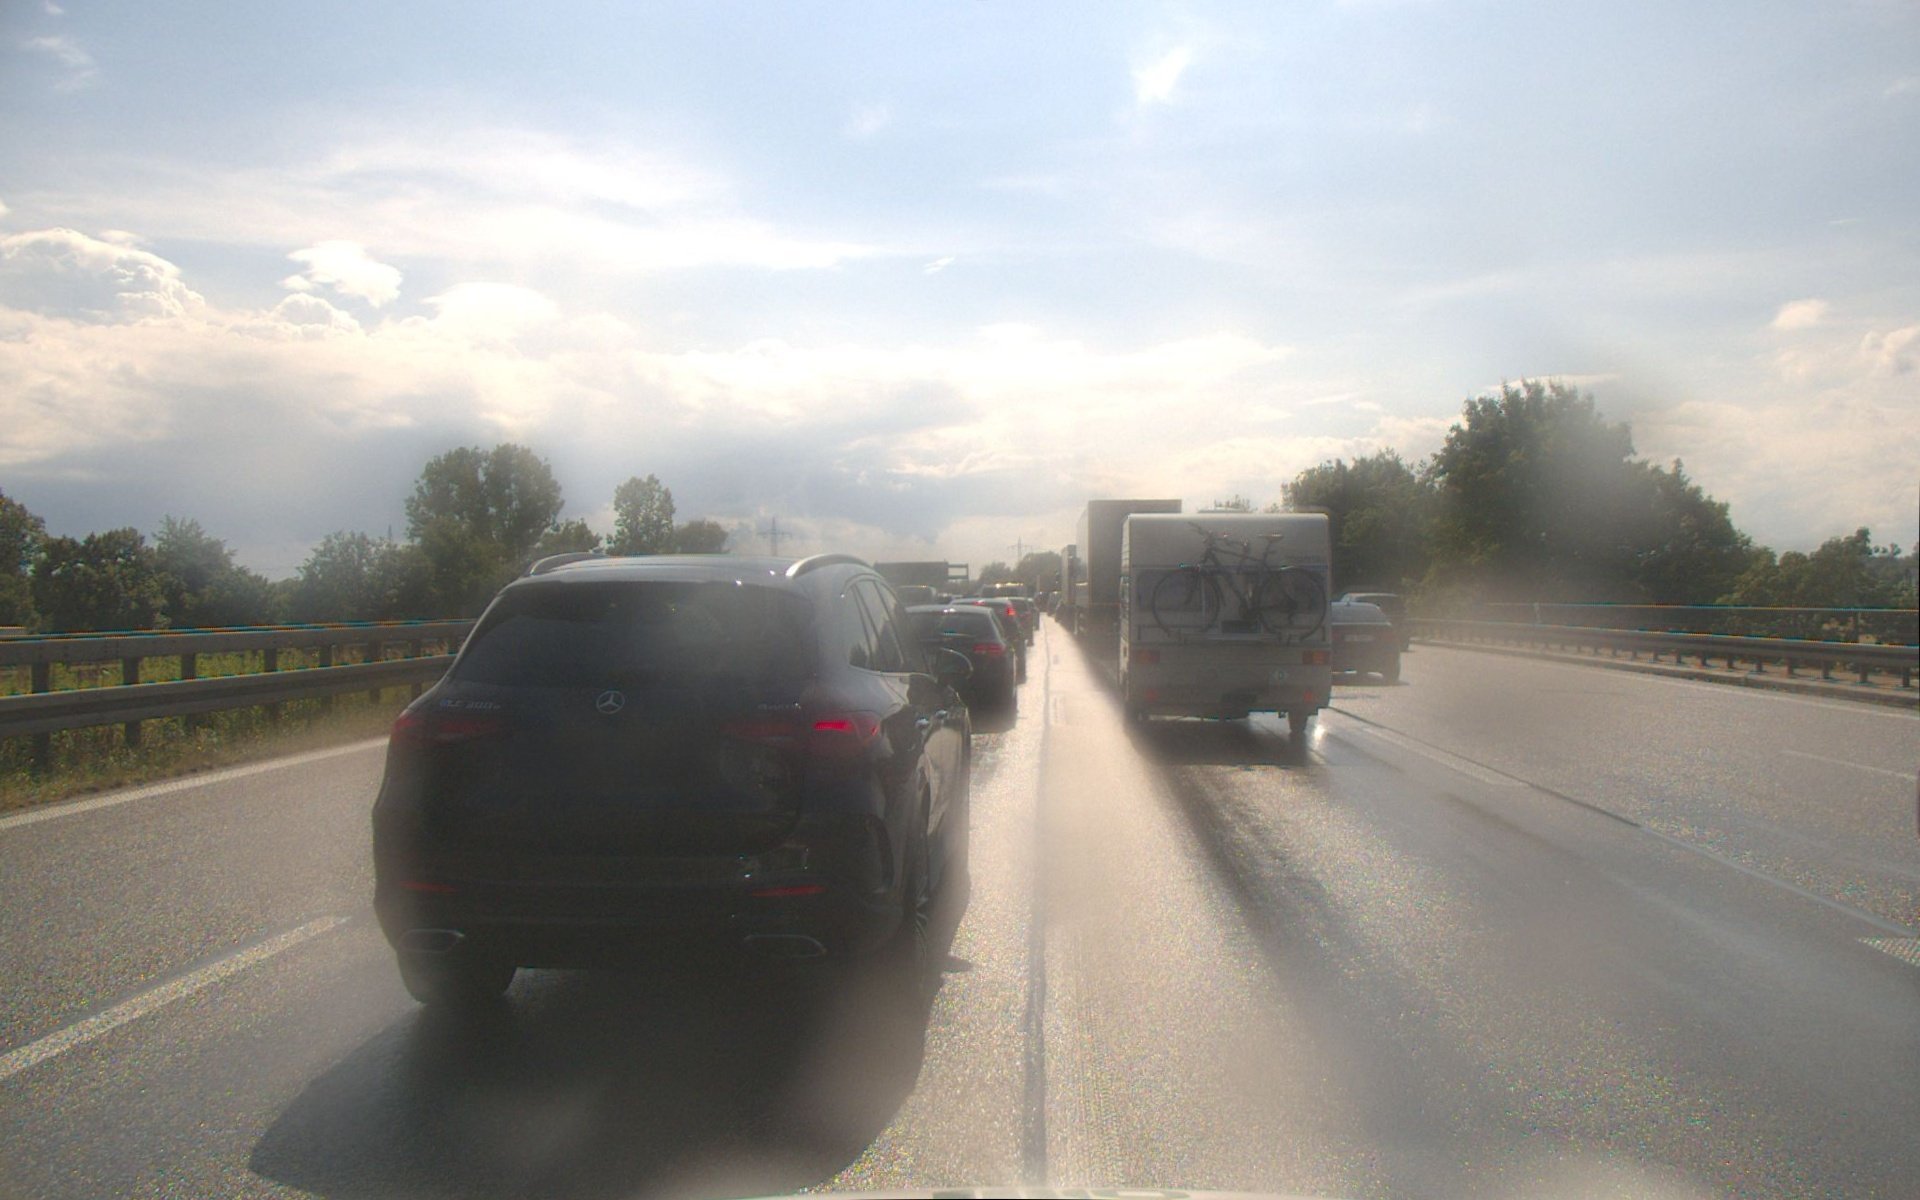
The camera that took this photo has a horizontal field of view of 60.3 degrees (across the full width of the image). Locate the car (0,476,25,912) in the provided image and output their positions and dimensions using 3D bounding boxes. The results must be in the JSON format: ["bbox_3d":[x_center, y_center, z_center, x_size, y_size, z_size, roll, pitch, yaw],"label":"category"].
[{"bbox_3d":[-5.655,0.452,5.395,1.952,2.049,5.272,0,0,4],"label":"car"}]

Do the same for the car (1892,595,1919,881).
[{"bbox_3d":[5.808,0.702,6.707,1.810,1.489,4.257,-1,0,3],"label":"car"}]

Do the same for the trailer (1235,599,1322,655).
[{"bbox_3d":[8.794,0.725,45.996,1.816,1.467,4.149,0,0,3],"label":"trailer"}]

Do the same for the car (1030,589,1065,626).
[{"bbox_3d":[5.247,0.443,98.509,1.952,2.048,4.002,3,0,4],"label":"car"}]

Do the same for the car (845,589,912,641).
[{"bbox_3d":[-2.924,0.530,59.853,1.952,1.803,4.002,1,0,4],"label":"car"}]

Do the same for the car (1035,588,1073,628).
[{"bbox_3d":[5.017,0.430,88.074,1.952,2.049,4.002,1,0,4],"label":"car"}]

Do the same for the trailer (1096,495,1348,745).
[{"bbox_3d":[2.936,0.209,20.127,2.324,2.527,6.525,1,0,3],"label":"trailer"}]

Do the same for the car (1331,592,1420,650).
[{"bbox_3d":[12.188,0.581,48.751,1.751,1.641,4.387,0,0,3],"label":"car"}]

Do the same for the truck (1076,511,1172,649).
[{"bbox_3d":[5.281,-0.617,53.652,2.932,4.239,5.243,0,0,5],"label":"truck"}]

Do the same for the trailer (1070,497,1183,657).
[{"bbox_3d":[4.789,-0.617,48.149,2.943,4.239,8.541,0,0,5],"label":"trailer"}]

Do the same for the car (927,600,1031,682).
[{"bbox_3d":[0.421,0.727,31.249,1.768,1.432,4.001,1,0,3],"label":"car"}]

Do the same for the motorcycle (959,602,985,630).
[{"bbox_3d":[0.571,0.729,78.151,1.051,1.293,2.691,0,0,4],"label":"motorcycle"}]

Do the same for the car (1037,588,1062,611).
[{"bbox_3d":[7.261,-0.043,134.583,1.837,1.791,4.000,1,0,0],"label":"car"}]

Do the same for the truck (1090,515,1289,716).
[{"bbox_3d":[3.127,0.206,23.850,2.324,2.520,5.758,1,0,3],"label":"truck"}]

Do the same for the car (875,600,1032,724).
[{"bbox_3d":[0.011,0.720,21.059,1.720,1.411,3.947,0,0,4],"label":"car"}]

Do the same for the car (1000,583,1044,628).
[{"bbox_3d":[2.951,0.235,77.664,1.952,2.049,4.002,-1,0,4],"label":"car"}]

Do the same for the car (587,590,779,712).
[{"bbox_3d":[-3.748,0.646,23.097,1.720,1.543,4.211,0,0,4],"label":"car"}]

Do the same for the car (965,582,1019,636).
[{"bbox_3d":[1.317,0.339,65.502,1.952,2.049,4.002,0,0,4],"label":"car"}]

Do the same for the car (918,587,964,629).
[{"bbox_3d":[-0.908,0.381,82.065,1.952,2.049,4.002,0,0,4],"label":"car"}]

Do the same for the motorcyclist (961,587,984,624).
[{"bbox_3d":[0.581,0.259,78.337,1.041,1.748,0.785,0,0,3],"label":"motorcyclist"}]

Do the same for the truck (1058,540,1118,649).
[{"bbox_3d":[6.056,-0.242,79.076,2.450,4.914,7.545,1,0,2],"label":"truck"}]

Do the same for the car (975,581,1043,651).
[{"bbox_3d":[1.626,0.494,53.640,1.952,2.048,4.002,3,0,4],"label":"car"}]

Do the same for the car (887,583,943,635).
[{"bbox_3d":[-1.899,0.376,71.269,1.952,2.048,4.002,3,0,4],"label":"car"}]

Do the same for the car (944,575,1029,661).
[{"bbox_3d":[0.724,0.433,41.811,1.952,2.049,4.002,1,0,4],"label":"car"}]

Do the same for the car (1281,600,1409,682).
[{"bbox_3d":[7.193,0.722,31.230,1.704,1.445,3.837,0,0,3],"label":"car"}]

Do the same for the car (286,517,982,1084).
[{"bbox_3d":[-0.960,0.606,7.178,1.952,1.690,4.407,0,0,3],"label":"car"}]

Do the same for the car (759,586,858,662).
[{"bbox_3d":[-3.655,0.574,40.621,1.952,1.750,4.001,1,0,2],"label":"car"}]

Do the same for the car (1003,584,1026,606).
[{"bbox_3d":[4.577,-0.382,139.125,1.837,1.791,4.000,1,0,0],"label":"car"}]
